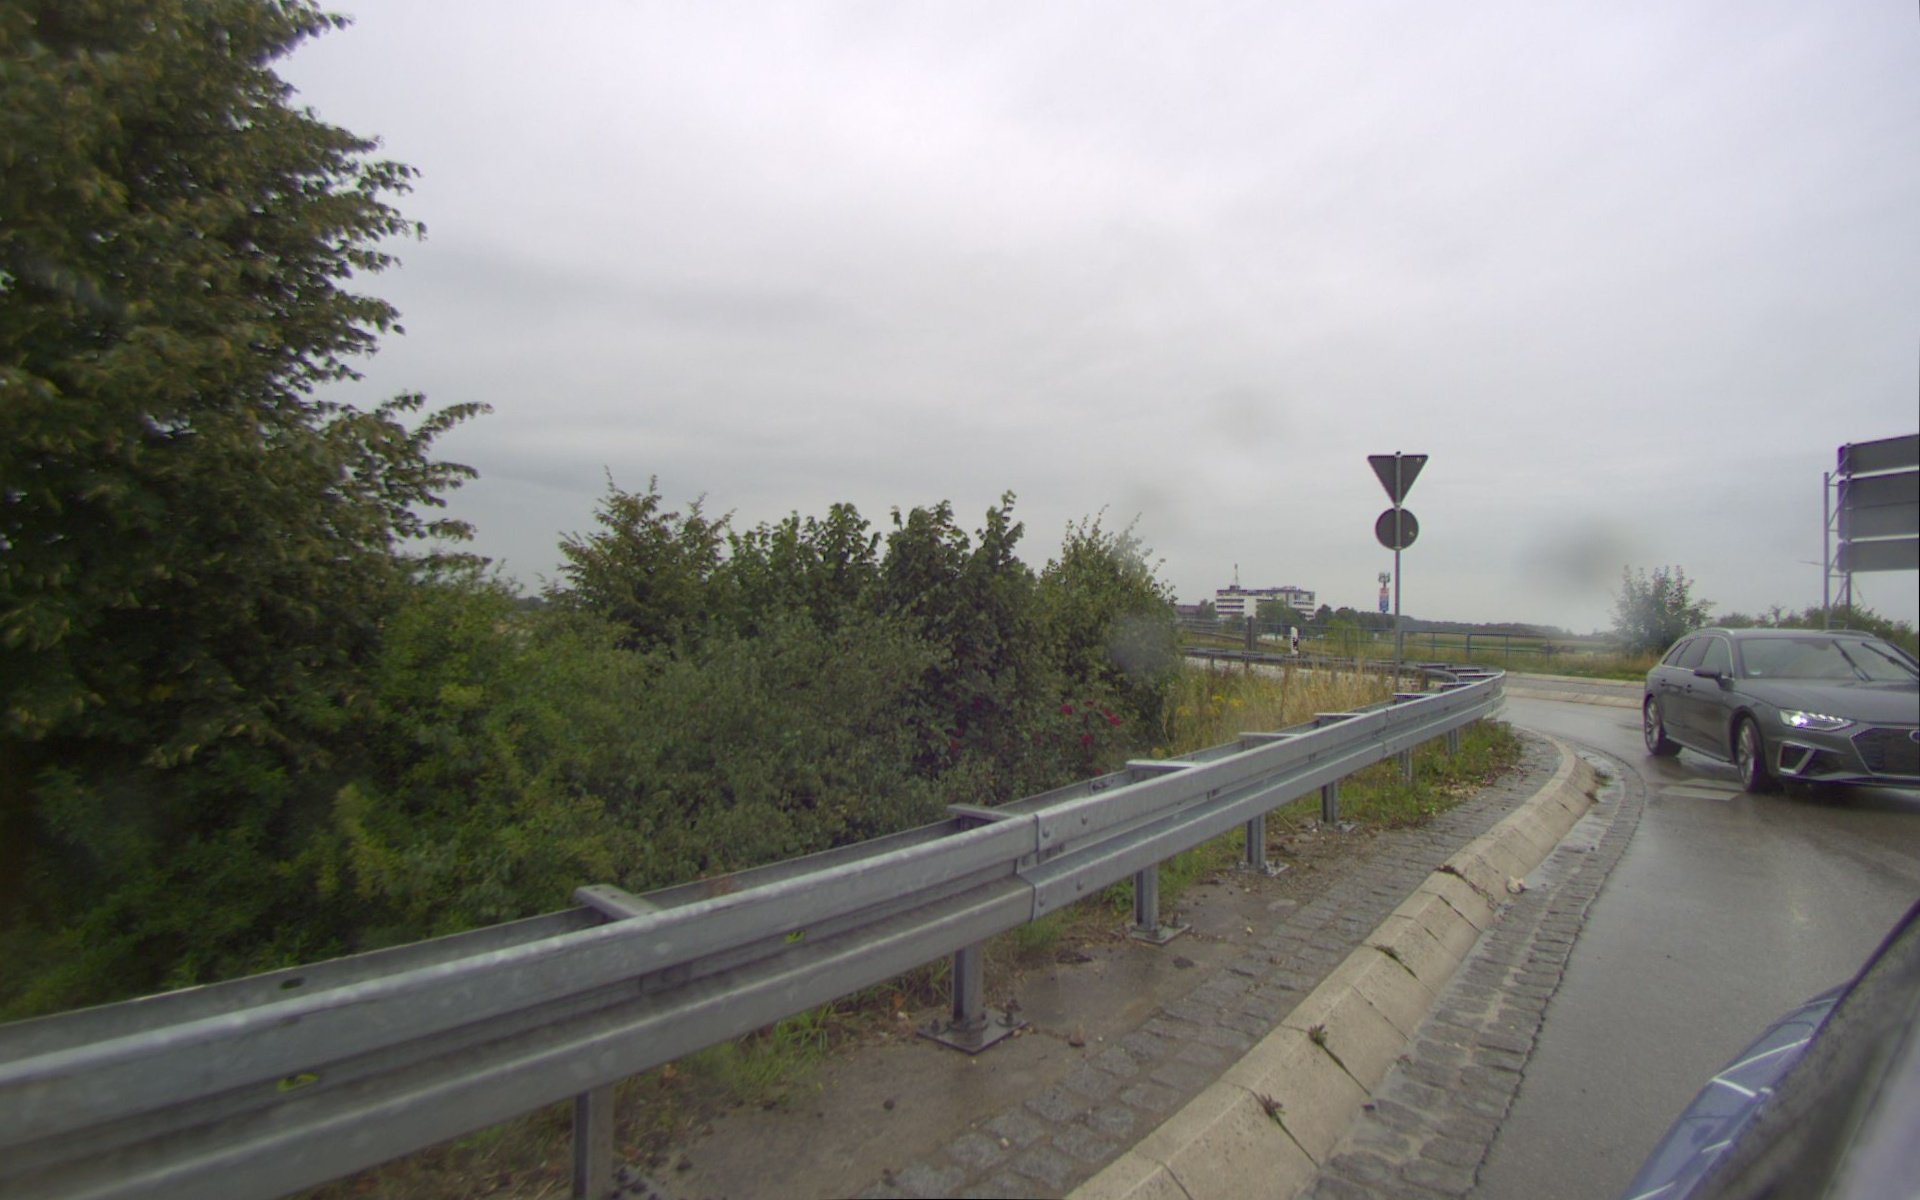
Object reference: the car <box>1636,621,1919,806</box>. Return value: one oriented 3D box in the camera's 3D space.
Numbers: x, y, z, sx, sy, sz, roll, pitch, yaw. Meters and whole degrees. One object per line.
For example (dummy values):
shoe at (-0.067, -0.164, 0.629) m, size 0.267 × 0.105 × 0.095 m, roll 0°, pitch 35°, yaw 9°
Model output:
car at (8.151, 0.900, 9.638) m, size 1.888 × 1.387 × 4.530 m, roll -1°, pitch -2°, yaw 22°
